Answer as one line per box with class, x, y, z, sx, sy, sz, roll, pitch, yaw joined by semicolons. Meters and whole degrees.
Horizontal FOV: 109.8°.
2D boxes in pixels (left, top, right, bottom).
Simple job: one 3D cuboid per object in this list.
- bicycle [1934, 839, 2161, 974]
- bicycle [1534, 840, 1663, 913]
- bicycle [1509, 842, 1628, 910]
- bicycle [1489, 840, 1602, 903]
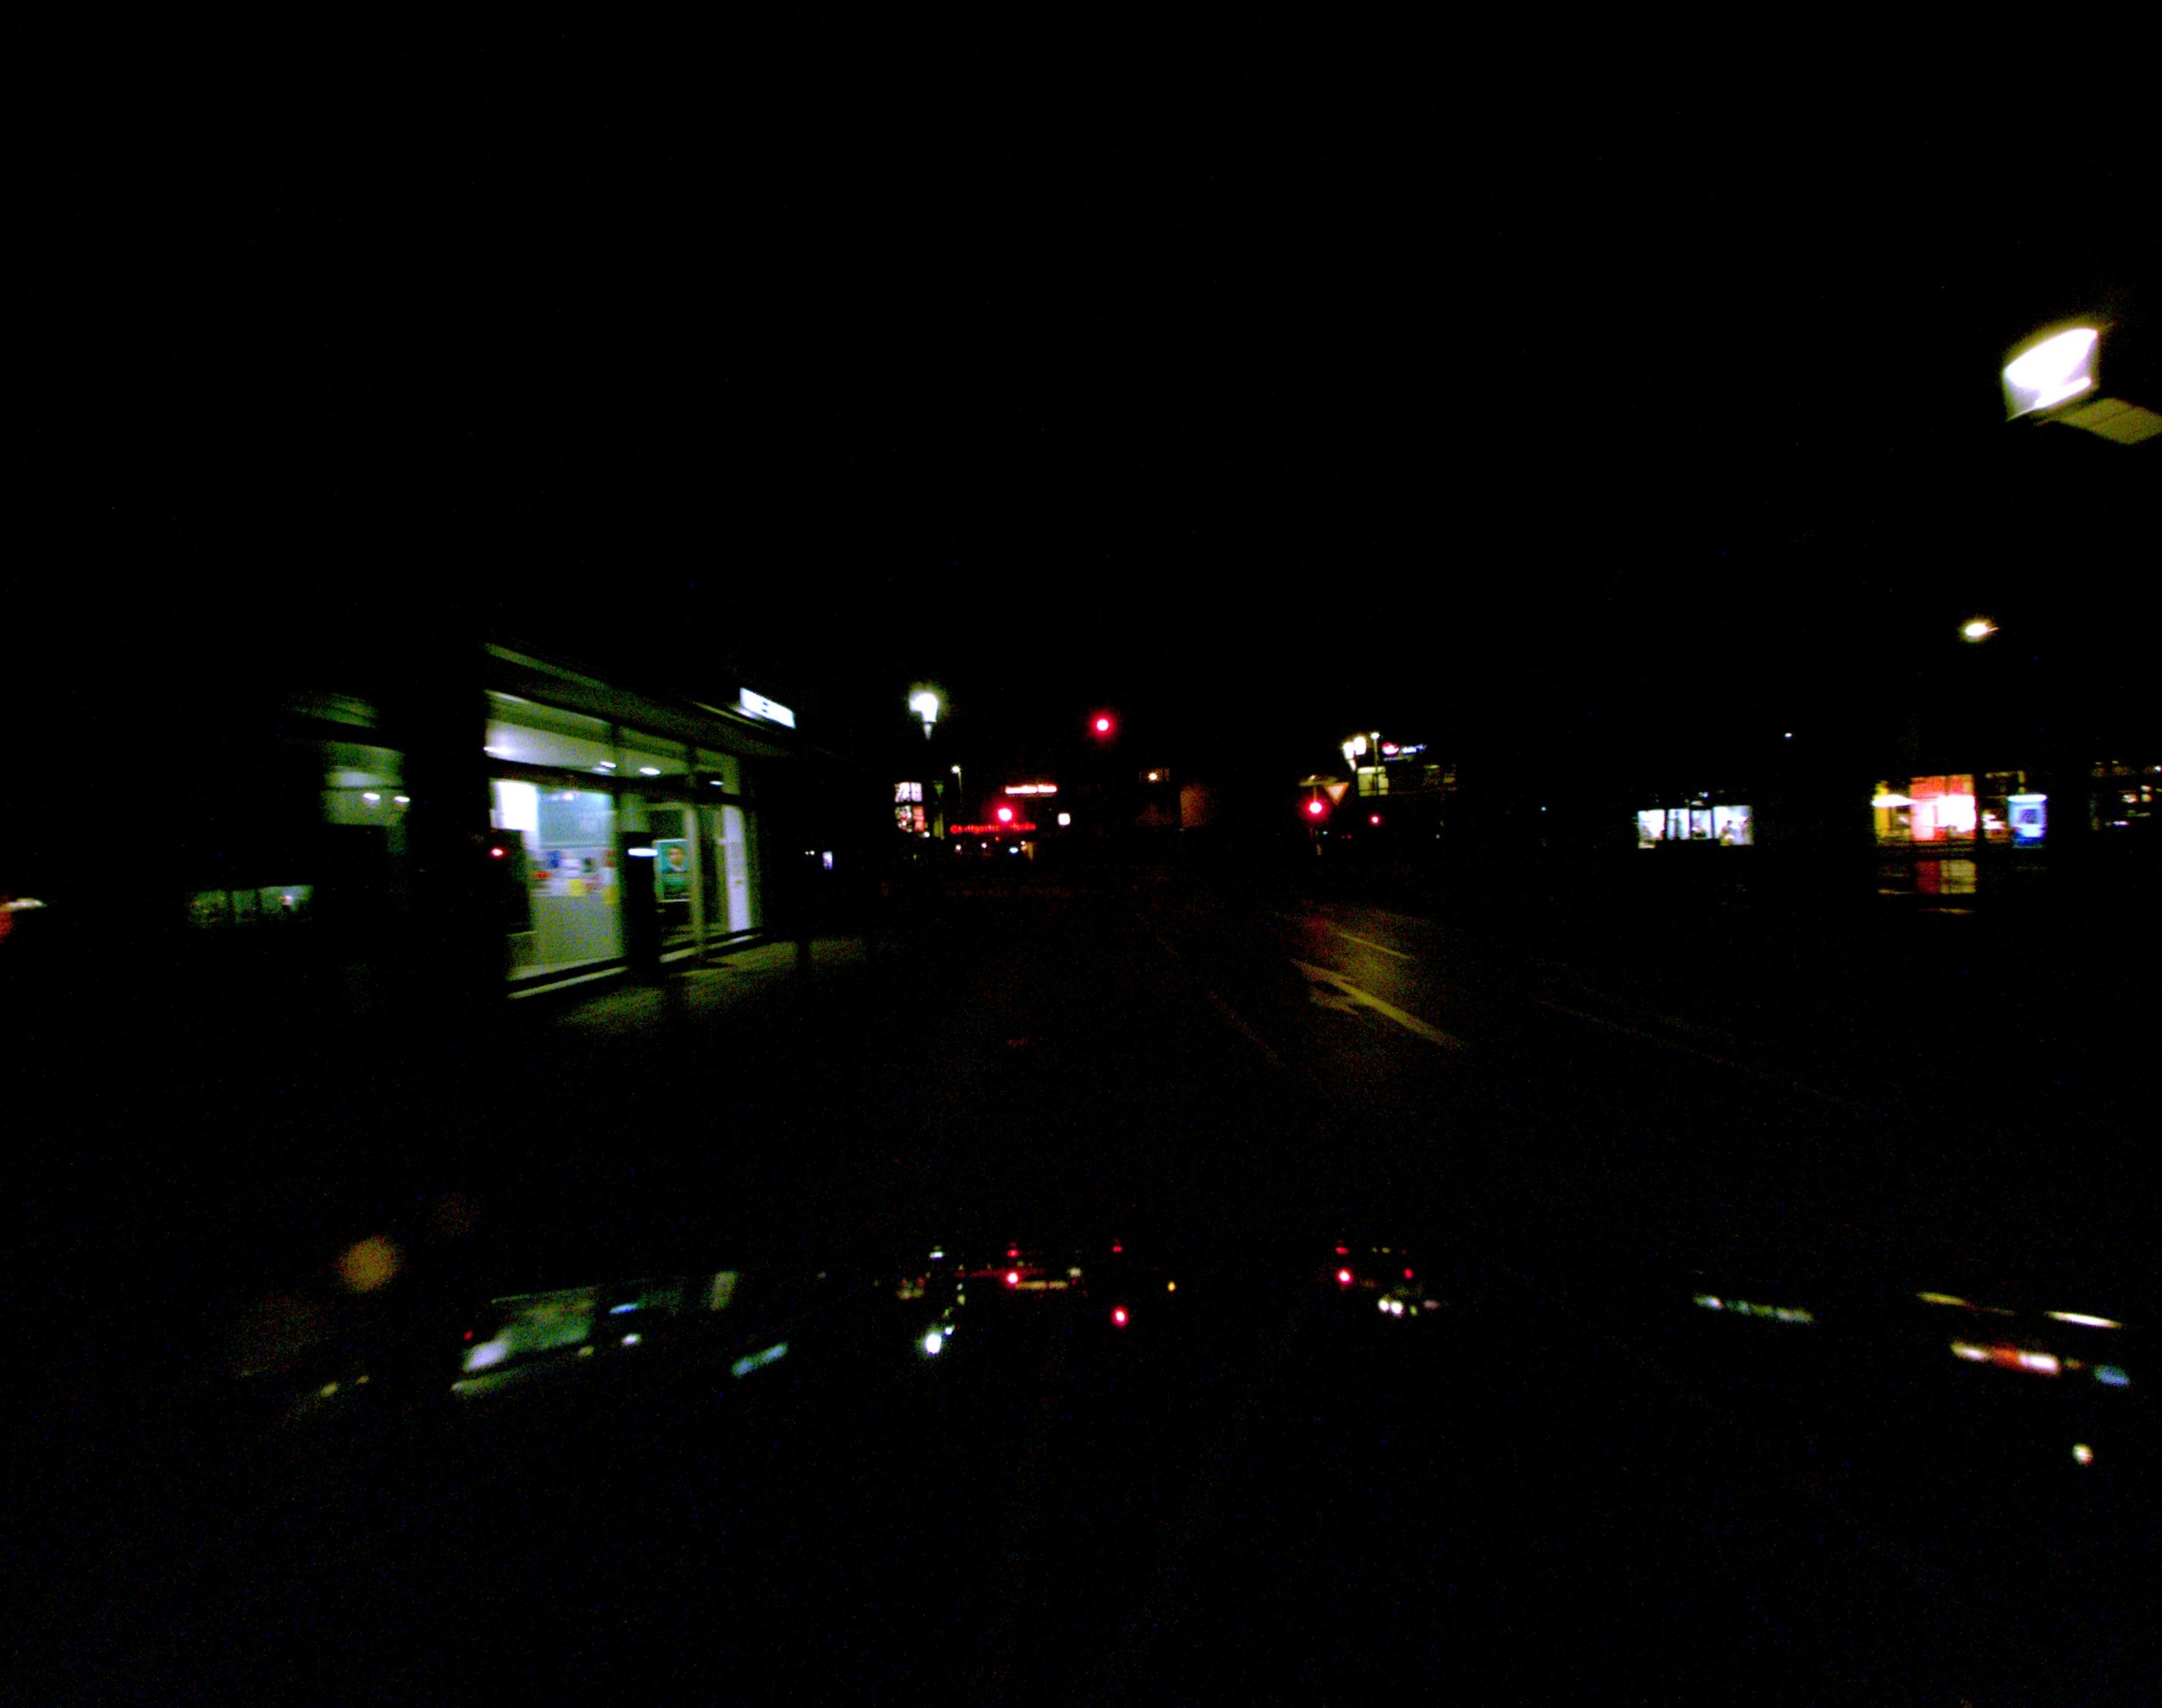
bicycle;9.386;0.473;7.216;1.773;1.157;0.670;-2;1;1
bicycle;9.522;0.402;14.031;1.738;1.160;0.787;-5;0;6
bicycle;9.525;0.410;14.912;1.738;1.151;0.787;-5;2;6
bicycle;9.928;0.368;16.294;1.837;1.151;0.787;-5;2;6
